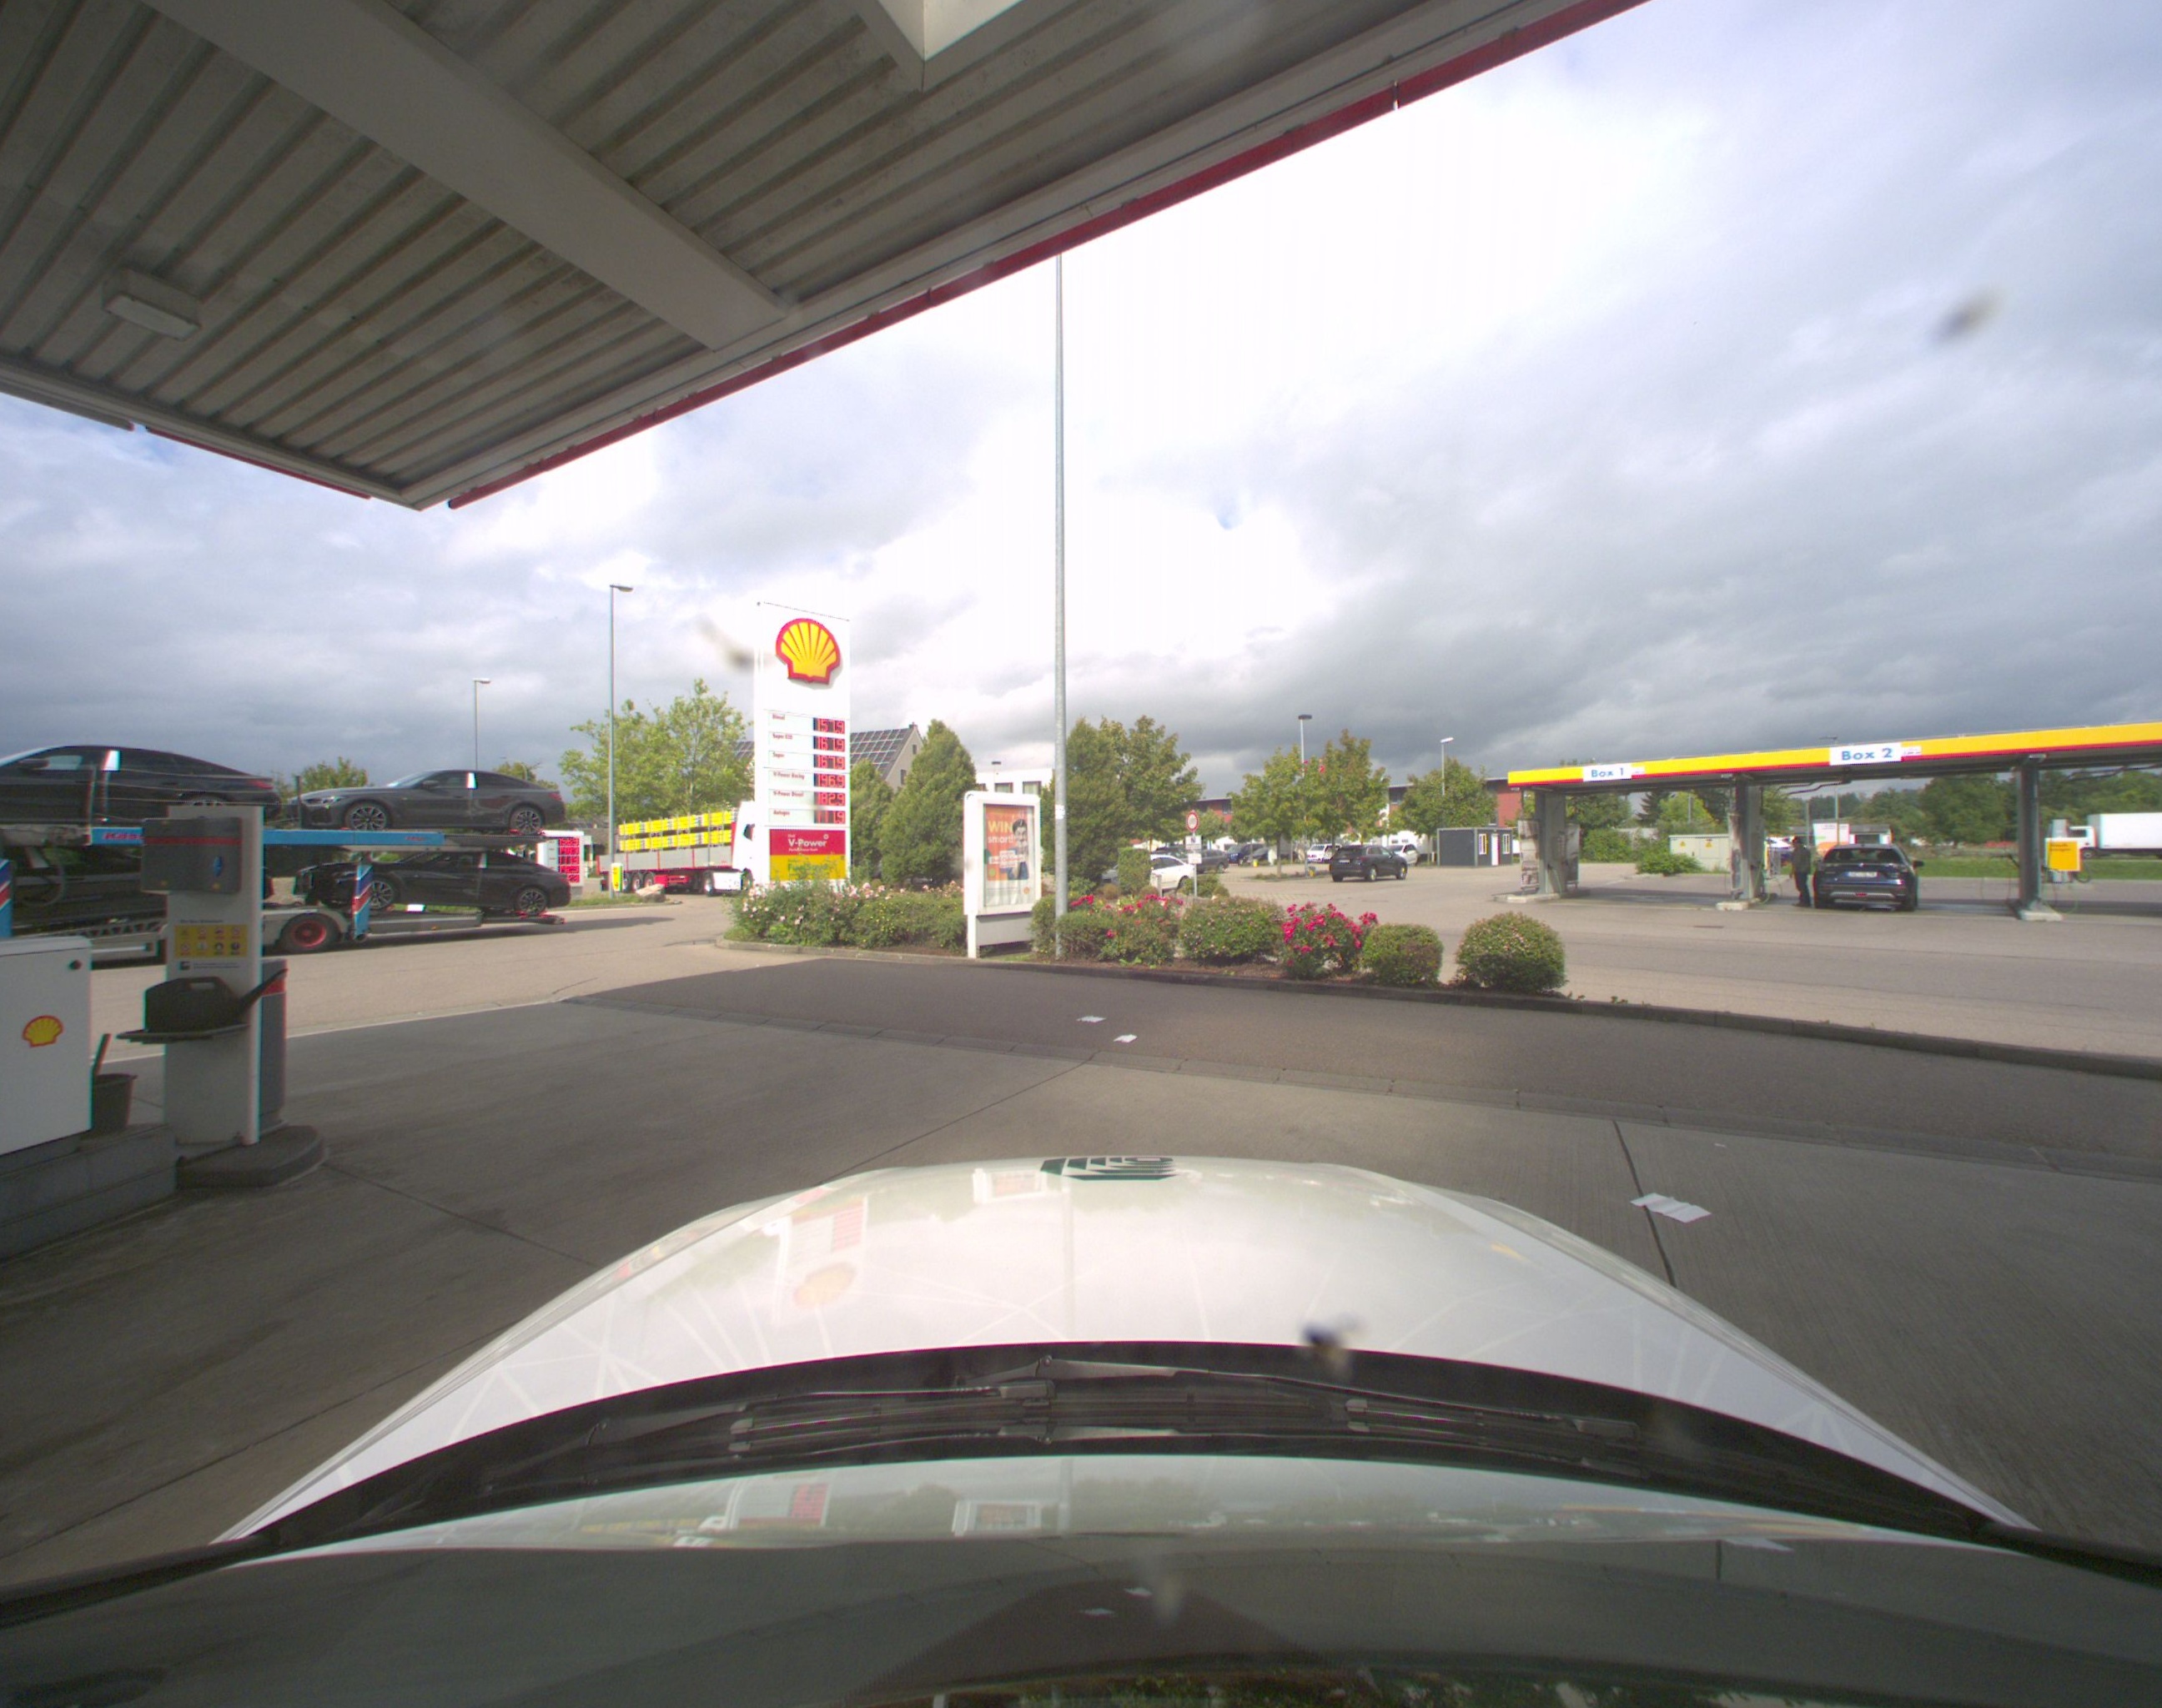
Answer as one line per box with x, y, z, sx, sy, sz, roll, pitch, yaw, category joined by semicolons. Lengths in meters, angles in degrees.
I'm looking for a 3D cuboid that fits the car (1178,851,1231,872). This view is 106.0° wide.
7.537;0.447;49.706;3.245;1.228;1.488;0;-1;-42;car

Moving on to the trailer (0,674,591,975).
-16.438;-0.415;13.686;2.711;4.423;14.450;-1;-1;31;trailer

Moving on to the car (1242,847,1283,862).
14.491;0.033;64.876;3.437;1.179;1.468;0;-1;-42;car

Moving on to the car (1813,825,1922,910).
19.435;0.316;20.076;3.828;1.897;1.703;0;-1;-43;car

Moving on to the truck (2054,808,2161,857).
78.229;-1.554;60.006;7.989;3.534;2.714;-1;-1;41;truck

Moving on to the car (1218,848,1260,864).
12.948;0.180;66.661;3.407;1.320;1.726;0;-1;-42;car

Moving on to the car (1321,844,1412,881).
12.873;0.373;36.581;4.527;1.548;1.864;0;-1;-41;car

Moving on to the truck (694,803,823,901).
-13.874;-0.042;34.850;5.843;3.846;2.758;-1;-1;41;truck

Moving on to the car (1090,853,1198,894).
2.391;0.682;30.022;4.368;1.404;1.354;0;-1;-42;car

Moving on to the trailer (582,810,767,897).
-20.189;0.045;39.834;12.548;3.776;2.757;-1;-1;37;trailer

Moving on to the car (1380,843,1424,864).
20.605;-0.047;52.216;3.120;1.307;1.352;0;-1;-42;car

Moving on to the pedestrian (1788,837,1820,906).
18.265;0.439;20.572;0.551;1.722;0.531;-1;-1;38;pedestrian

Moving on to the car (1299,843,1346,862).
23.872;-0.124;80.269;4.903;1.833;2.159;0;-1;-41;car
